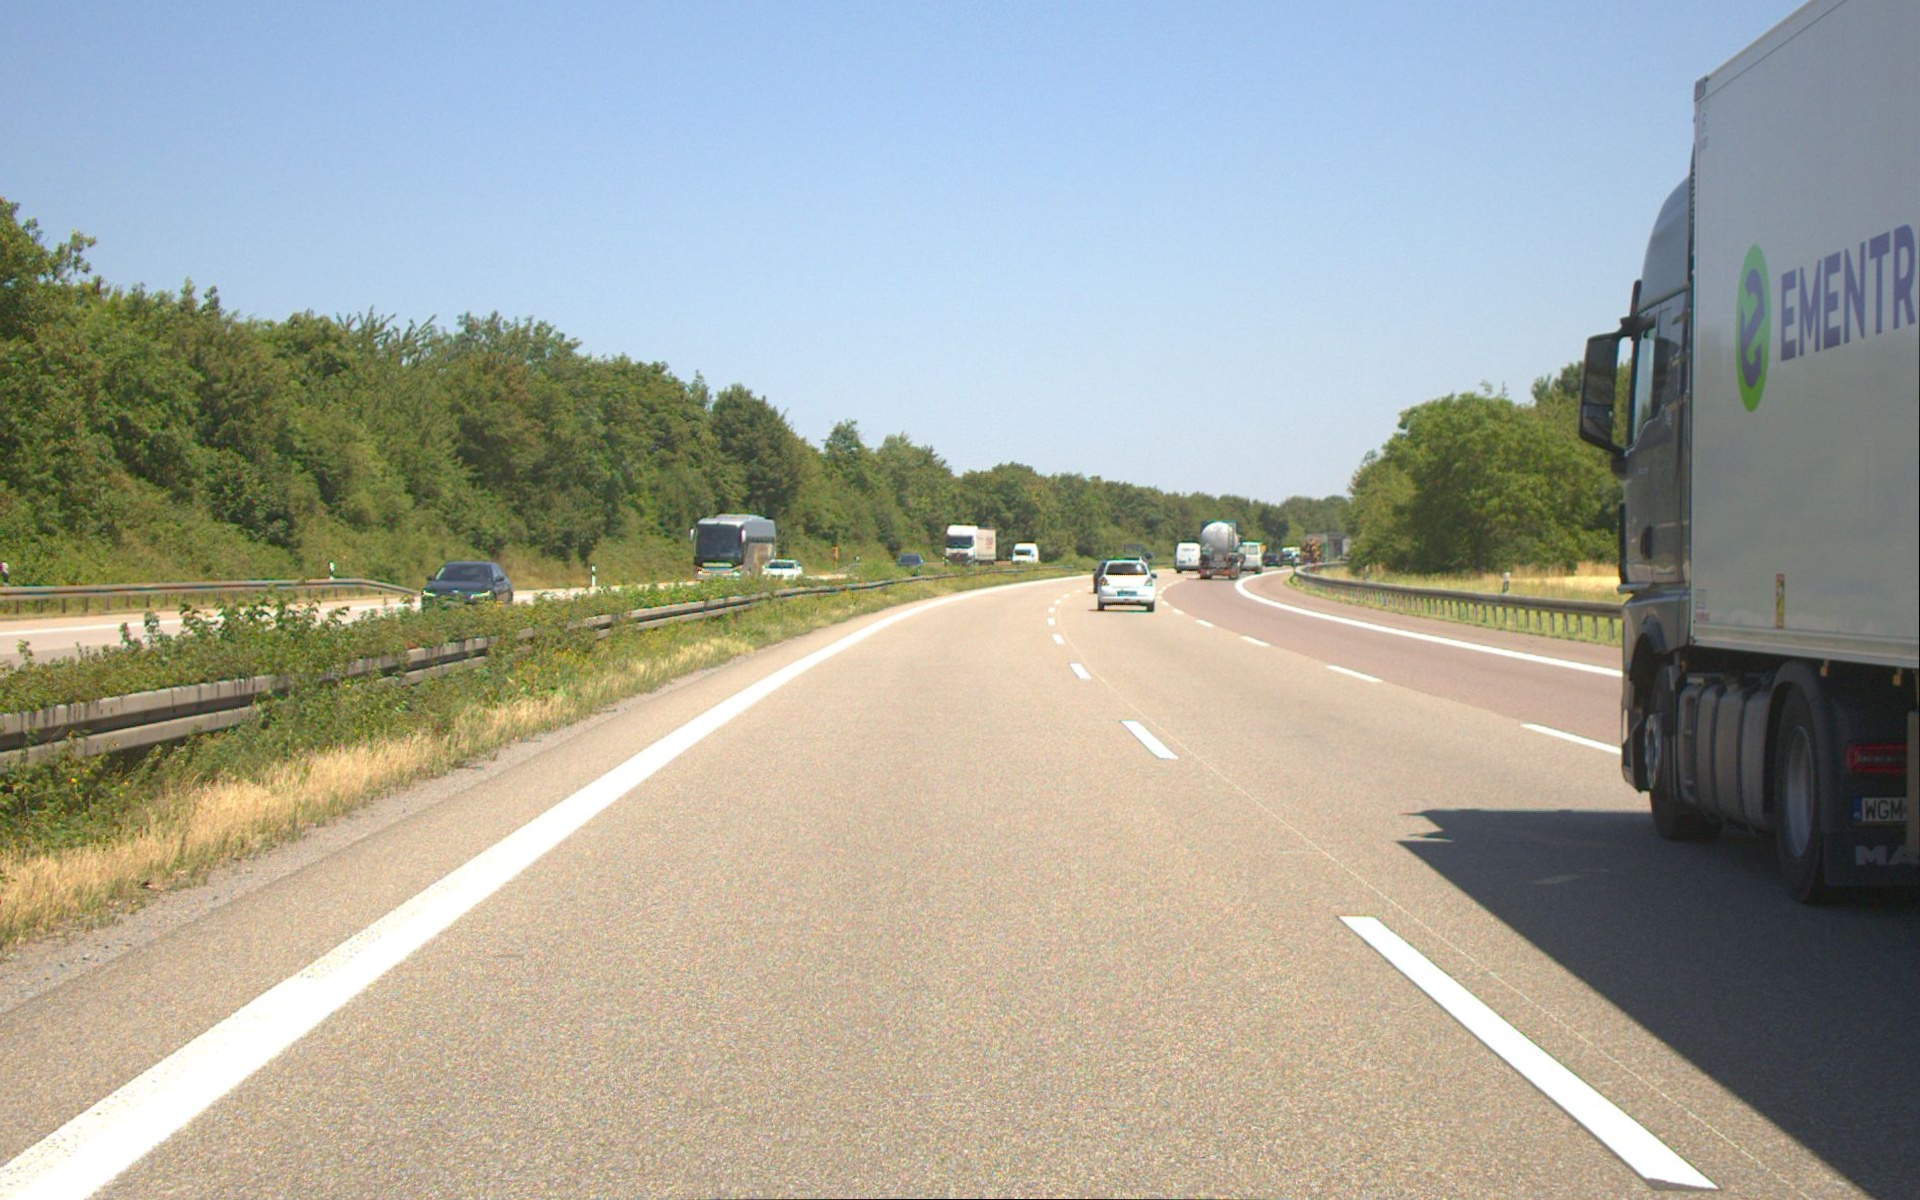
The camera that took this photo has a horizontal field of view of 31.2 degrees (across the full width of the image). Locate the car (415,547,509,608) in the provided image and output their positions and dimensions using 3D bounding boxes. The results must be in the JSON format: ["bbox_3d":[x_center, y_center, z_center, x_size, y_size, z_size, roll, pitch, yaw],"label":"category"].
[{"bbox_3d":[-12.844,-0.593,88.853,1.782,1.512,4.501,0,1,0],"label":"car"}]

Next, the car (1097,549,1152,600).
[{"bbox_3d":[4.931,-0.767,103.029,1.627,1.474,4.000,0,0,3],"label":"car"}]

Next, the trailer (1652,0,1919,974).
[{"bbox_3d":[4.941,-0.919,10.963,2.901,4.641,13.986,1,1,1],"label":"trailer"}]

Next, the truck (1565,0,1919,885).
[{"bbox_3d":[5.128,-0.812,18.568,2.908,4.241,4.975,1,1,2],"label":"truck"}]

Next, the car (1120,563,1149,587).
[{"bbox_3d":[10.462,-1.501,206.402,1.627,1.474,4.000,0,0,2],"label":"car"}]

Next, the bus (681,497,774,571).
[{"bbox_3d":[-12.069,-3.406,179.507,2.742,3.695,12.998,1,1,5],"label":"bus"}]

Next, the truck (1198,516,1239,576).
[{"bbox_3d":[17.831,-3.682,236.618,2.739,4.038,10.453,0,0,4],"label":"truck"}]
